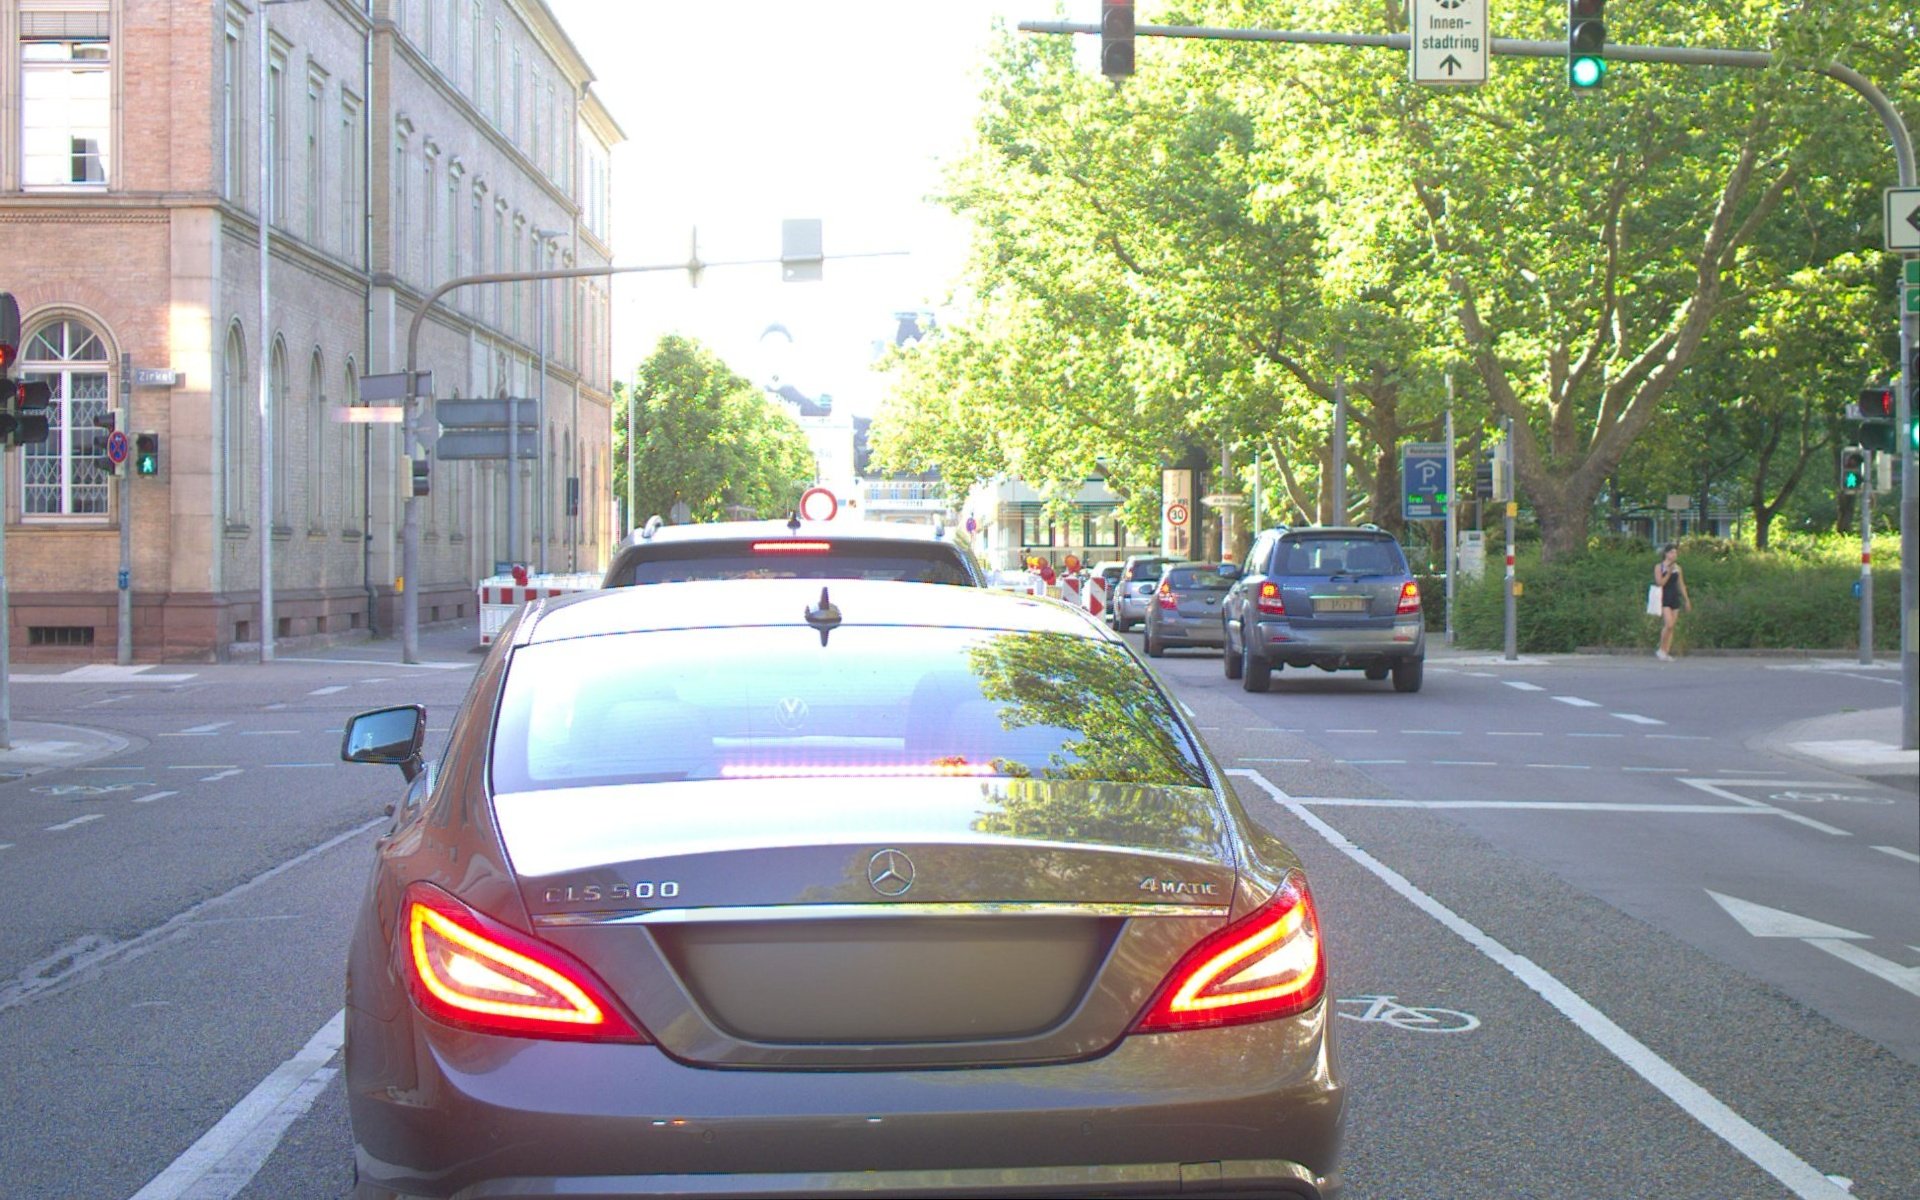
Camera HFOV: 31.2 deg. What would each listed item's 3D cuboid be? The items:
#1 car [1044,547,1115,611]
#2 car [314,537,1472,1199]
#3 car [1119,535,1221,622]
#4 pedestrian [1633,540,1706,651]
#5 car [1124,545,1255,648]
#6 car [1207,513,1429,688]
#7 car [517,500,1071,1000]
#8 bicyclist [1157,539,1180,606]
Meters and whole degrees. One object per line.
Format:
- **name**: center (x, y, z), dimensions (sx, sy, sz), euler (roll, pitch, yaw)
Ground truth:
- **car**: center (2.990, -0.531, 86.424), dimensions (1.601, 1.543, 3.681), euler (1, 1, -1)
- **car**: center (-0.363, 0.629, 7.499), dimensions (1.861, 1.514, 4.001), euler (0, 1, -8)
- **car**: center (4.114, -0.429, 67.863), dimensions (1.731, 1.656, 3.681), euler (1, 1, -1)
- **pedestrian**: center (9.940, -0.065, 48.180), dimensions (0.635, 1.540, 0.910), euler (1, 0, -14)
- **car**: center (3.511, -0.086, 53.227), dimensions (1.704, 1.514, 4.000), euler (1, 1, -1)
- **car**: center (3.791, -0.036, 37.109), dimensions (1.861, 1.758, 4.482), euler (1, 1, -1)
- **car**: center (-0.584, 0.474, 13.629), dimensions (1.861, 1.677, 4.000), euler (1, 1, -1)
- **bicyclist**: center (6.377, -0.851, 105.019), dimensions (0.594, 2.032, 0.566), euler (1, 0, -4)
